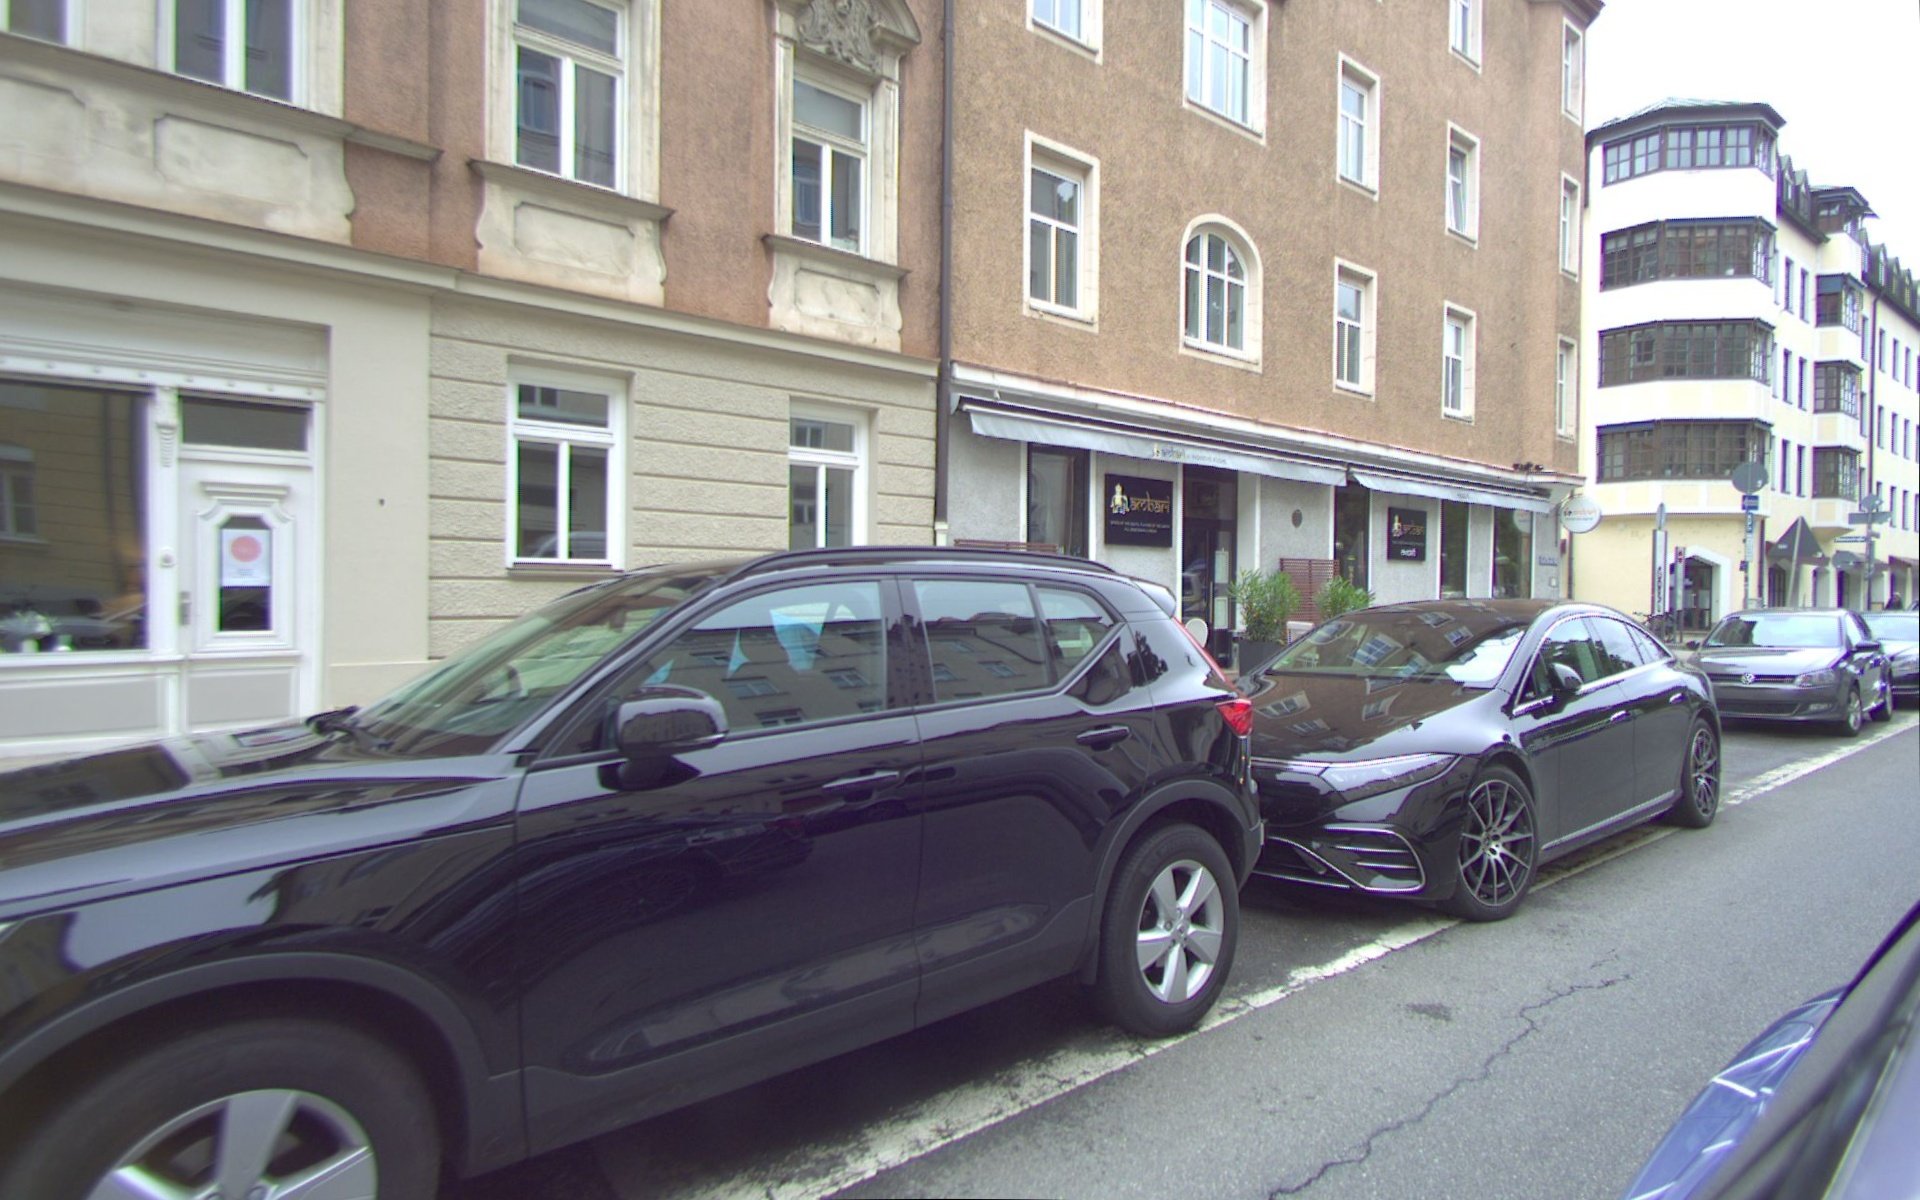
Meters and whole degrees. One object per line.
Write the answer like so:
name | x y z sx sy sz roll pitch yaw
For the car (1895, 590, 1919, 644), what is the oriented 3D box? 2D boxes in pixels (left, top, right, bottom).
car | 31.301 0.521 31.822 4.414 1.643 2.112 0 1 -38

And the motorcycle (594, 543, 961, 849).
motorcycle | -1.035 0.468 5.983 1.960 1.523 0.874 0 0 -37

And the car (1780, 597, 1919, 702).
car | 14.655 0.670 15.876 4.701 1.422 1.851 0 1 -39

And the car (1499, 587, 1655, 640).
car | 19.226 0.394 31.671 1.717 1.458 3.748 3 0 -34

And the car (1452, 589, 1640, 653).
car | 15.419 0.483 26.787 1.858 1.506 3.884 -1 2 -37

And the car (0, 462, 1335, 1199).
car | -0.834 0.644 3.161 4.327 1.698 1.697 -1 -2 -38

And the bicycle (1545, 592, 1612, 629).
bicycle | 21.150 0.348 34.635 0.506 1.201 1.906 0 1 -37

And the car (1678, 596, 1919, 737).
car | 10.485 0.693 12.550 4.108 1.412 1.576 -1 2 -40

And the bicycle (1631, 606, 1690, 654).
bicycle | 15.752 0.674 22.734 1.769 1.018 0.497 2 2 -36

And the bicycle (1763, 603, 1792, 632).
bicycle | 27.355 0.591 33.838 1.663 0.912 0.263 -1 6 -36

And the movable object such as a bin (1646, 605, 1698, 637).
movable object such as a bin | 21.844 0.646 31.052 0.671 0.911 1.126 0 2 -37

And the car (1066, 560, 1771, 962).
car | 3.301 0.619 6.491 5.536 1.572 1.935 0 0 -40
